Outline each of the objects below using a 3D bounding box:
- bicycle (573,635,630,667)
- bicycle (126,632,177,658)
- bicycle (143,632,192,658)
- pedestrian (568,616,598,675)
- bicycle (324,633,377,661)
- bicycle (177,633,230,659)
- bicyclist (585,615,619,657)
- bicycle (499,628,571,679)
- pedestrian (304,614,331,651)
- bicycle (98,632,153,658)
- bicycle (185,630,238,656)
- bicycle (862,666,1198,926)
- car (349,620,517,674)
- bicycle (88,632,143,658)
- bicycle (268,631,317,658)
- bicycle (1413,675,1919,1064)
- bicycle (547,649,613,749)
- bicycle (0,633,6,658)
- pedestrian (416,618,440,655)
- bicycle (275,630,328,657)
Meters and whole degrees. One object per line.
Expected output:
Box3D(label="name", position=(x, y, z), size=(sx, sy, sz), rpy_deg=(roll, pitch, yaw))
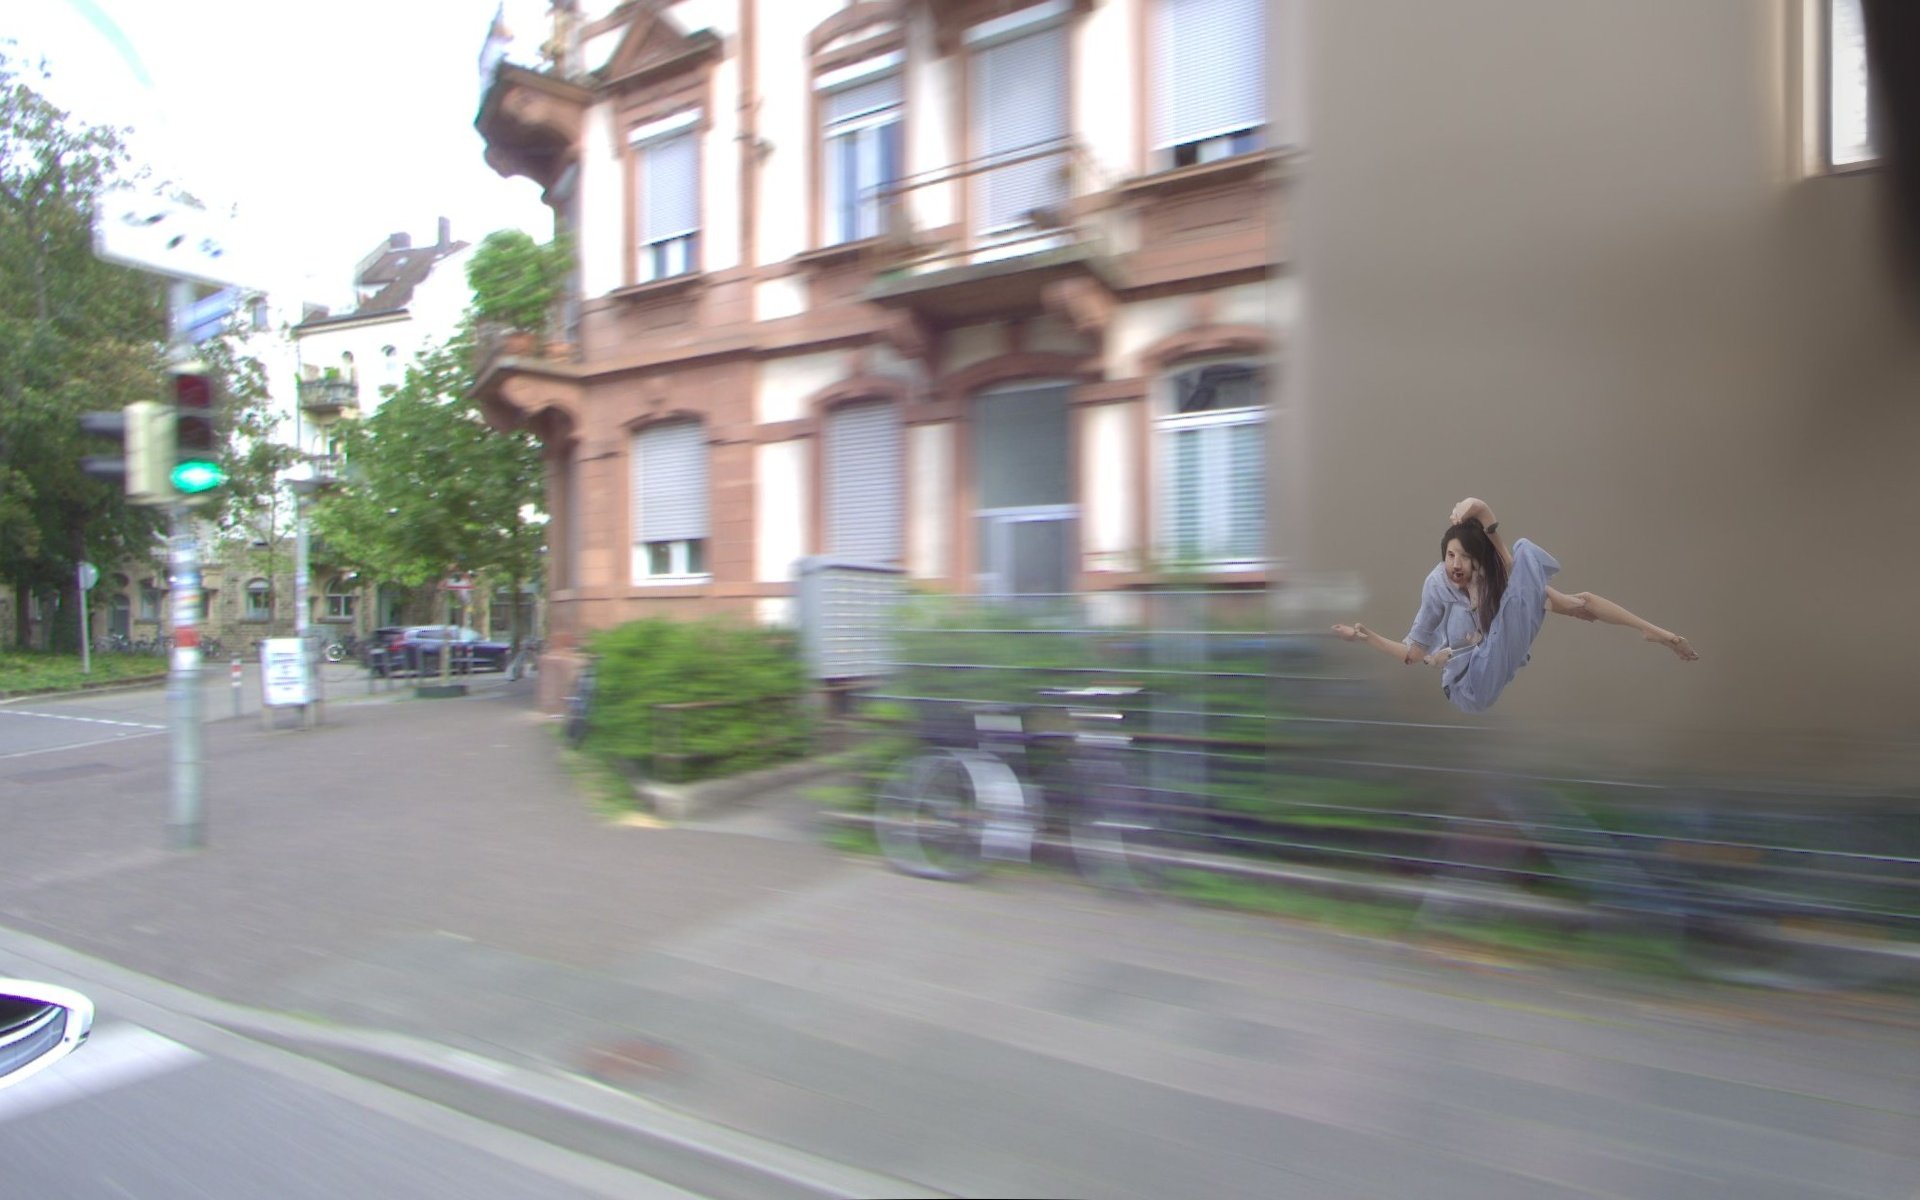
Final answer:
Box3D(label="bicycle", position=(-14.265, 2.014, 39.848), size=(0.647, 1.167, 2.085), rpy_deg=(0, -1, 42))
Box3D(label="bicycle", position=(-36.781, 2.028, 45.588), size=(0.571, 1.142, 1.893), rpy_deg=(0, -1, 12))
Box3D(label="bicycle", position=(-35.985, 2.027, 45.485), size=(0.583, 1.142, 1.894), rpy_deg=(0, -1, 6))
Box3D(label="pedestrian", position=(-11.441, 1.363, 30.386), size=(0.722, 1.752, 0.889), rpy_deg=(-1, 1, -28))
Box3D(label="bicycle", position=(-25.745, 1.974, 42.312), size=(0.525, 1.142, 1.885), rpy_deg=(0, -1, 30))
Box3D(label="bicycle", position=(-34.127, 2.056, 45.185), size=(0.524, 1.142, 1.888), rpy_deg=(0, -1, 25))
Box3D(label="bicyclist", position=(-14.245, 1.419, 39.865), size=(0.639, 1.627, 1.130), rpy_deg=(0, 0, 42))
Box3D(label="bicycle", position=(-10.309, 1.281, 24.344), size=(0.661, 1.159, 1.669), rpy_deg=(0, -1, 20))
Box3D(label="pedestrian", position=(-29.804, 1.493, 46.449), size=(0.821, 1.697, 0.731), rpy_deg=(0, 0, 23))
Box3D(label="bicycle", position=(-37.983, 2.026, 45.579), size=(0.588, 1.142, 1.890), rpy_deg=(0, -1, 20))
Box3D(label="bicycle", position=(-33.585, 1.921, 44.975), size=(0.524, 1.142, 1.888), rpy_deg=(0, -1, 25))
Box3D(label="bicycle", position=(0.350, 0.940, 5.273), size=(1.647, 1.121, 0.670), rpy_deg=(0, 0, 29))
Box3D(label="car", position=(-15.392, 1.336, 29.545), size=(1.726, 1.460, 4.474), rpy_deg=(0, -1, 17))
Box3D(label="bicycle", position=(-38.553, 2.031, 45.739), size=(0.553, 1.142, 1.890), rpy_deg=(0, -1, 20))
Box3D(label="bicycle", position=(-29.272, 1.929, 43.963), size=(0.523, 1.142, 1.891), rpy_deg=(0, -1, 18))
Box3D(label="bicycle", position=(2.479, 0.864, 3.584), size=(1.526, 1.103, 0.507), rpy_deg=(0, 3, 29))
Box3D(label="bicycle", position=(-4.260, 1.069, 11.180), size=(0.502, 0.982, 1.543), rpy_deg=(0, -1, -28))
Box3D(label="bicycle", position=(-43.897, 2.056, 45.042), size=(0.656, 1.142, 1.890), rpy_deg=(0, -1, -19))
Box3D(label="pedestrian", position=(-23.842, 1.636, 44.878), size=(0.826, 1.644, 0.726), rpy_deg=(0, -1, -41))
Box3D(label="bicycle", position=(-28.552, 1.886, 43.426), size=(0.525, 1.142, 1.883), rpy_deg=(0, -1, 34))
